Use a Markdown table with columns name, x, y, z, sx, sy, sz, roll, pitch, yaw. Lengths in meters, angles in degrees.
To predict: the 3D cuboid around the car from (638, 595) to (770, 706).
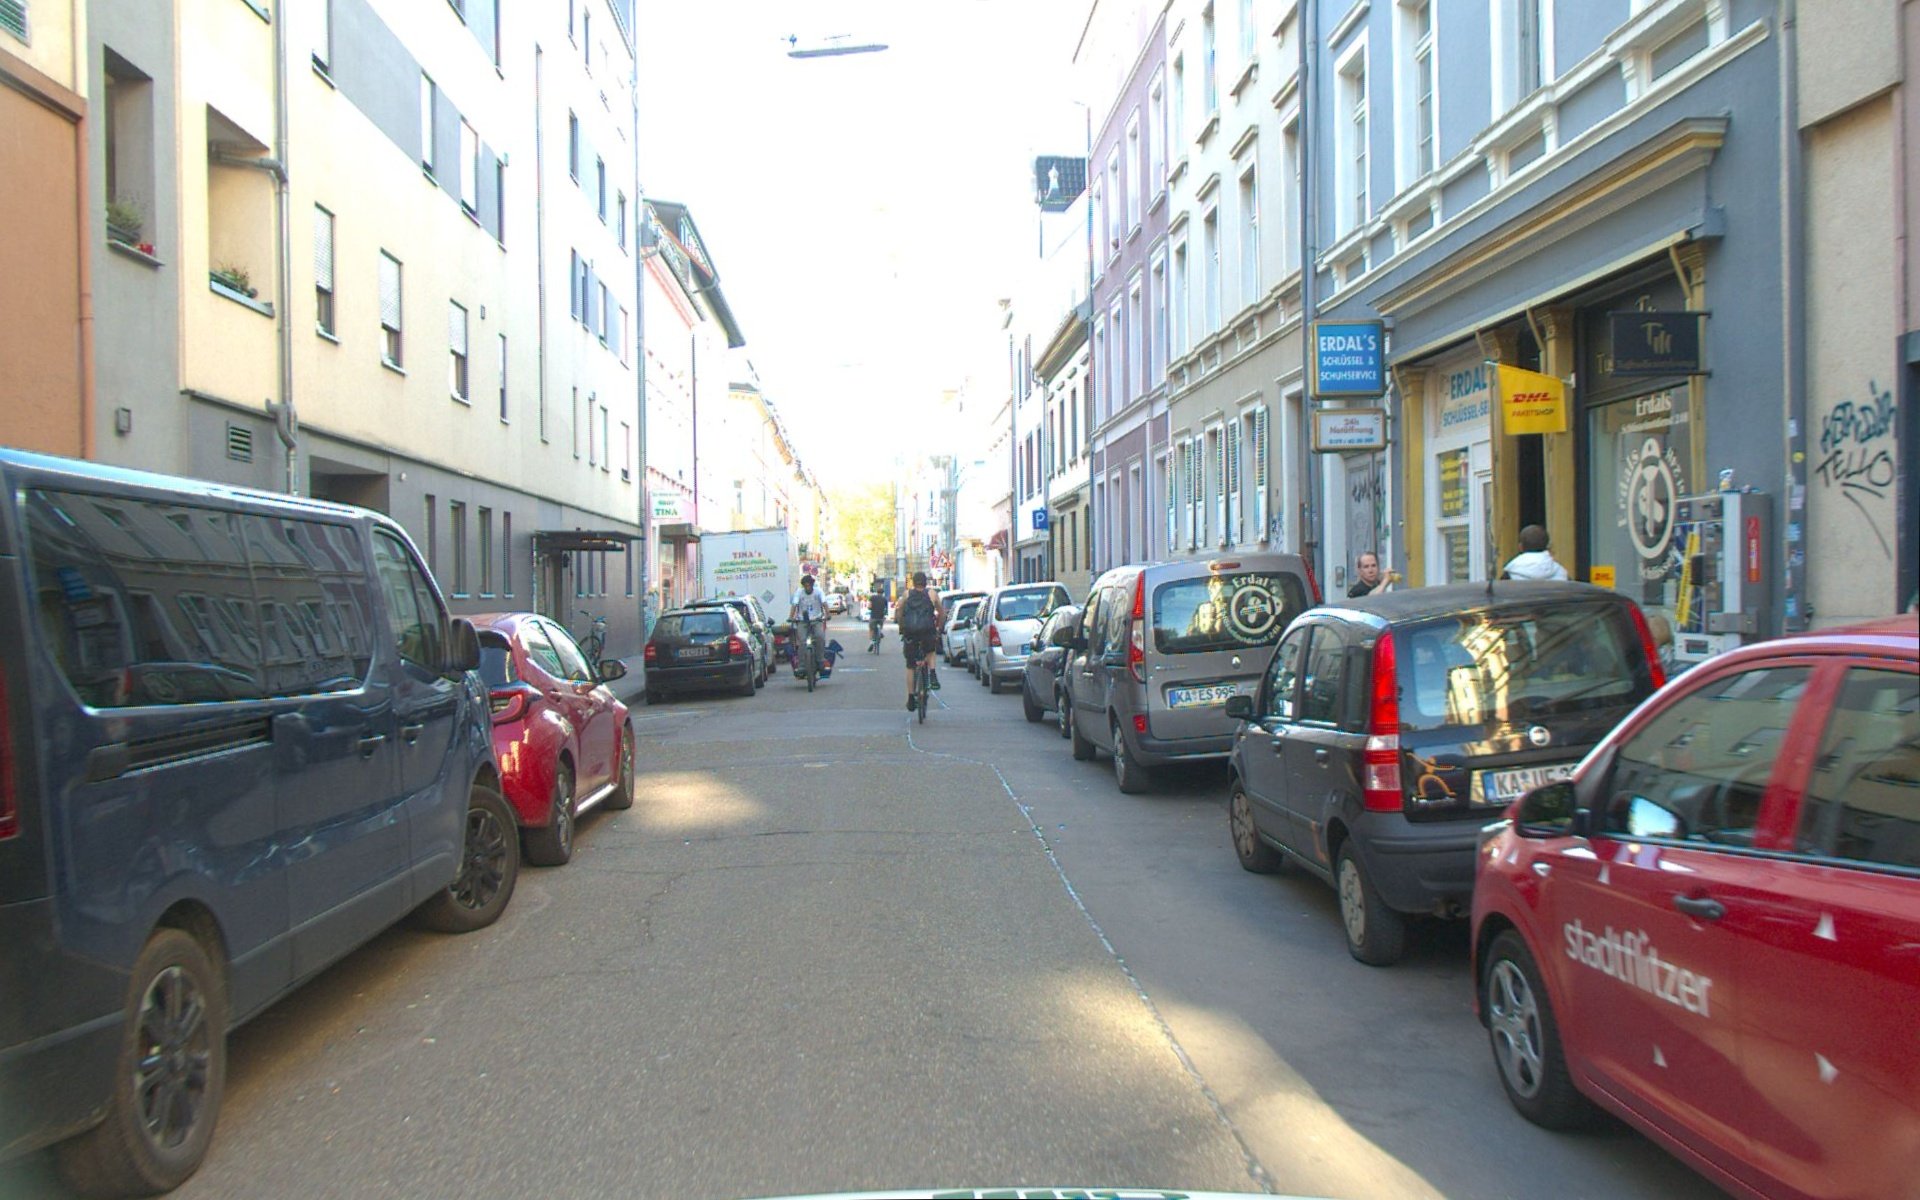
| name | x | y | z | sx | sy | sz | roll | pitch | yaw |
| --- | --- | --- | --- | --- | --- | --- | --- | --- | --- |
| car | -4.111 | 0.756 | 27.207 | 1.683 | 1.504 | 4.495 | -4 | 1 | -4 |

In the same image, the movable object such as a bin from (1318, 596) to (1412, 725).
| name | x | y | z | sx | sy | sz | roll | pitch | yaw |
| --- | --- | --- | --- | --- | --- | --- | --- | --- | --- |
| movable object such as a bin | 4.145 | 0.611 | 16.956 | 0.748 | 1.265 | 0.579 | -2 | 0 | -6 |

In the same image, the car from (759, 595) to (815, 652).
| name | x | y | z | sx | sy | sz | roll | pitch | yaw |
| --- | --- | --- | --- | --- | --- | --- | --- | --- | --- |
| car | -6.004 | 0.804 | 57.631 | 1.718 | 1.848 | 4.074 | -3 | 0 | -4 |

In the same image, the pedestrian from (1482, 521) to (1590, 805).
| name | x | y | z | sx | sy | sz | roll | pitch | yaw |
| --- | --- | --- | --- | --- | --- | --- | --- | --- | --- |
| pedestrian | 3.670 | 0.394 | 10.565 | 0.549 | 1.771 | 0.428 | 0 | -1 | 2 |

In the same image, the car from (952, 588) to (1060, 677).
| name | x | y | z | sx | sy | sz | roll | pitch | yaw |
| --- | --- | --- | --- | --- | --- | --- | --- | --- | --- |
| car | 0.853 | 0.623 | 33.266 | 1.663 | 1.570 | 4.625 | -3 | 0 | -4 |

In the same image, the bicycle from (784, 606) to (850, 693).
| name | x | y | z | sx | sy | sz | roll | pitch | yaw |
| --- | --- | --- | --- | --- | --- | --- | --- | --- | --- |
| bicycle | -2.372 | 0.798 | 27.728 | 0.958 | 1.337 | 2.554 | -2 | 0 | -3 |

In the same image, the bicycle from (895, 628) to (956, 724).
| name | x | y | z | sx | sy | sz | roll | pitch | yaw |
| --- | --- | --- | --- | --- | --- | --- | --- | --- | --- |
| bicycle | -0.439 | 0.899 | 20.222 | 0.663 | 1.093 | 1.940 | 0 | 0 | -4 |

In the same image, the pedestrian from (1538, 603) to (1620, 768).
| name | x | y | z | sx | sy | sz | roll | pitch | yaw |
| --- | --- | --- | --- | --- | --- | --- | --- | --- | --- |
| pedestrian | 4.759 | 0.650 | 12.737 | 0.429 | 1.244 | 0.514 | 0 | -1 | -2 |

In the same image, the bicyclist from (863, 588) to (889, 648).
| name | x | y | z | sx | sy | sz | roll | pitch | yaw |
| --- | --- | --- | --- | --- | --- | --- | --- | --- | --- |
| bicyclist | -2.264 | 0.480 | 44.479 | 0.658 | 1.595 | 0.715 | 0 | -1 | -6 |

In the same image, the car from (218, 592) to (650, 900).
| name | x | y | z | sx | sy | sz | roll | pitch | yaw |
| --- | --- | --- | --- | --- | --- | --- | --- | --- | --- |
| car | -3.217 | 0.802 | 10.931 | 1.716 | 1.548 | 3.866 | -4 | 0 | -3 |

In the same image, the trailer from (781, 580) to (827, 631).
| name | x | y | z | sx | sy | sz | roll | pitch | yaw |
| --- | --- | --- | --- | --- | --- | --- | --- | --- | --- |
| trailer | -6.859 | 0.234 | 72.946 | 1.845 | 2.129 | 3.734 | -2 | 0 | -4 |

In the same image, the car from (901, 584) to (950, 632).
| name | x | y | z | sx | sy | sz | roll | pitch | yaw |
| --- | --- | --- | --- | --- | --- | --- | --- | --- | --- |
| car | -1.492 | 0.326 | 69.991 | 1.716 | 1.911 | 3.967 | -2 | 0 | -6 |

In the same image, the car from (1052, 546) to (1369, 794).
| name | x | y | z | sx | sy | sz | roll | pitch | yaw |
| --- | --- | --- | --- | --- | --- | --- | --- | --- | --- |
| car | 1.982 | 0.528 | 14.403 | 1.861 | 1.825 | 4.311 | 0 | 0 | -4 |

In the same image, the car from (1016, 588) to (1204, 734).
| name | x | y | z | sx | sy | sz | roll | pitch | yaw |
| --- | --- | --- | --- | --- | --- | --- | --- | --- | --- |
| car | 1.660 | 0.659 | 19.363 | 1.522 | 1.537 | 3.607 | 0 | 0 | -6 |

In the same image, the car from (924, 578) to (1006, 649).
| name | x | y | z | sx | sy | sz | roll | pitch | yaw |
| --- | --- | --- | --- | --- | --- | --- | --- | --- | --- |
| car | 0.095 | 0.380 | 46.453 | 1.881 | 1.735 | 4.362 | -5 | 0 | -4 |

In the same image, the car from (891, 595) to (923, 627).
| name | x | y | z | sx | sy | sz | roll | pitch | yaw |
| --- | --- | --- | --- | --- | --- | --- | --- | --- | --- |
| car | -2.804 | 0.570 | 87.319 | 1.579 | 1.662 | 3.607 | 0 | 0 | -4 |

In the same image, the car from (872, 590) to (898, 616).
| name | x | y | z | sx | sy | sz | roll | pitch | yaw |
| --- | --- | --- | --- | --- | --- | --- | --- | --- | --- |
| car | -4.712 | 0.208 | 103.345 | 1.579 | 1.587 | 3.607 | 0 | 0 | -4 |

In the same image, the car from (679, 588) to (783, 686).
| name | x | y | z | sx | sy | sz | roll | pitch | yaw |
| --- | --- | --- | --- | --- | --- | --- | --- | --- | --- |
| car | -4.511 | 0.669 | 33.056 | 1.683 | 1.679 | 4.242 | -4 | 1 | -4 |

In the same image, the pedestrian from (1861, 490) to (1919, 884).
| name | x | y | z | sx | sy | sz | roll | pitch | yaw |
| --- | --- | --- | --- | --- | --- | --- | --- | --- | --- |
| pedestrian | 4.612 | 0.391 | 7.527 | 0.618 | 1.771 | 0.656 | 0 | -1 | -16 |

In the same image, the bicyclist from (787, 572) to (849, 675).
| name | x | y | z | sx | sy | sz | roll | pitch | yaw |
| --- | --- | --- | --- | --- | --- | --- | --- | --- | --- |
| bicyclist | -2.375 | 0.387 | 27.719 | 0.931 | 1.656 | 0.952 | -3 | 0 | -3 |

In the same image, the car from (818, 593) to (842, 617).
| name | x | y | z | sx | sy | sz | roll | pitch | yaw |
| --- | --- | --- | --- | --- | --- | --- | --- | --- | --- |
| car | -9.872 | 0.380 | 126.077 | 1.715 | 1.713 | 3.793 | -2 | 0 | -4 |

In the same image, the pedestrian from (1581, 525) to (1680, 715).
| name | x | y | z | sx | sy | sz | roll | pitch | yaw |
| --- | --- | --- | --- | --- | --- | --- | --- | --- | --- |
| pedestrian | 4.542 | 0.131 | 11.199 | 0.521 | 1.244 | 0.512 | 0 | -1 | 36 |

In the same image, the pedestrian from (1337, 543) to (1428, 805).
| name | x | y | z | sx | sy | sz | roll | pitch | yaw |
| --- | --- | --- | --- | --- | --- | --- | --- | --- | --- |
| pedestrian | 2.885 | 0.494 | 11.325 | 0.432 | 1.734 | 0.654 | 0 | -1 | -3 |

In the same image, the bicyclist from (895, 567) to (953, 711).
| name | x | y | z | sx | sy | sz | roll | pitch | yaw |
| --- | --- | --- | --- | --- | --- | --- | --- | --- | --- |
| bicyclist | -0.443 | 0.471 | 20.181 | 0.654 | 1.706 | 1.096 | 0 | -1 | -4 |

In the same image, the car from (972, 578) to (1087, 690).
| name | x | y | z | sx | sy | sz | roll | pitch | yaw |
| --- | --- | --- | --- | --- | --- | --- | --- | --- | --- |
| car | 1.099 | 0.540 | 27.541 | 1.526 | 1.742 | 3.555 | 0 | 0 | -4 |

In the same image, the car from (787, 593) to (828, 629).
| name | x | y | z | sx | sy | sz | roll | pitch | yaw |
| --- | --- | --- | --- | --- | --- | --- | --- | --- | --- |
| car | -7.093 | 0.514 | 77.130 | 1.715 | 1.600 | 3.793 | -2 | 0 | -4 |

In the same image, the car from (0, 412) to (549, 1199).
| name | x | y | z | sx | sy | sz | roll | pitch | yaw |
| --- | --- | --- | --- | --- | --- | --- | --- | --- | --- |
| car | -3.040 | 0.547 | 5.932 | 1.980 | 1.912 | 5.295 | 0 | 0 | -2 |

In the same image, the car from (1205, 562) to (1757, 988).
| name | x | y | z | sx | sy | sz | roll | pitch | yaw |
| --- | --- | --- | --- | --- | --- | --- | --- | --- | --- |
| car | 2.320 | 0.702 | 8.234 | 1.538 | 1.584 | 3.313 | -4 | 0 | -2 |

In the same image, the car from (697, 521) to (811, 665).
| name | x | y | z | sx | sy | sz | roll | pitch | yaw |
| --- | --- | --- | --- | --- | --- | --- | --- | --- | --- |
| car | -5.277 | -0.160 | 43.381 | 2.297 | 3.349 | 7.150 | -3 | 0 | -3 |

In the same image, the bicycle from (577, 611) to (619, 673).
| name | x | y | z | sx | sy | sz | roll | pitch | yaw |
| --- | --- | --- | --- | --- | --- | --- | --- | --- | --- |
| bicycle | -7.406 | 0.837 | 33.884 | 0.480 | 1.185 | 1.772 | -3 | 0 | -2 |

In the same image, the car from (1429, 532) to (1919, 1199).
| name | x | y | z | sx | sy | sz | roll | pitch | yaw |
| --- | --- | --- | --- | --- | --- | --- | --- | --- | --- |
| car | 2.450 | 0.685 | 3.768 | 1.575 | 1.600 | 3.551 | 0 | 0 | -4 |

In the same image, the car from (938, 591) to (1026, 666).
| name | x | y | z | sx | sy | sz | roll | pitch | yaw |
| --- | --- | --- | --- | --- | --- | --- | --- | --- | --- |
| car | 0.453 | 0.643 | 38.393 | 1.653 | 1.570 | 4.043 | -3 | 0 | -4 |

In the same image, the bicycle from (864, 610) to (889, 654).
| name | x | y | z | sx | sy | sz | roll | pitch | yaw |
| --- | --- | --- | --- | --- | --- | --- | --- | --- | --- |
| bicycle | -2.258 | 0.849 | 44.478 | 0.636 | 1.149 | 2.134 | 0 | 0 | -4 |

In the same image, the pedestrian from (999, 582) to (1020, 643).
| name | x | y | z | sx | sy | sz | roll | pitch | yaw |
| --- | --- | --- | --- | --- | --- | --- | --- | --- | --- |
| pedestrian | 1.673 | 0.421 | 55.588 | 0.631 | 2.049 | 0.763 | 0 | -1 | -4 |
